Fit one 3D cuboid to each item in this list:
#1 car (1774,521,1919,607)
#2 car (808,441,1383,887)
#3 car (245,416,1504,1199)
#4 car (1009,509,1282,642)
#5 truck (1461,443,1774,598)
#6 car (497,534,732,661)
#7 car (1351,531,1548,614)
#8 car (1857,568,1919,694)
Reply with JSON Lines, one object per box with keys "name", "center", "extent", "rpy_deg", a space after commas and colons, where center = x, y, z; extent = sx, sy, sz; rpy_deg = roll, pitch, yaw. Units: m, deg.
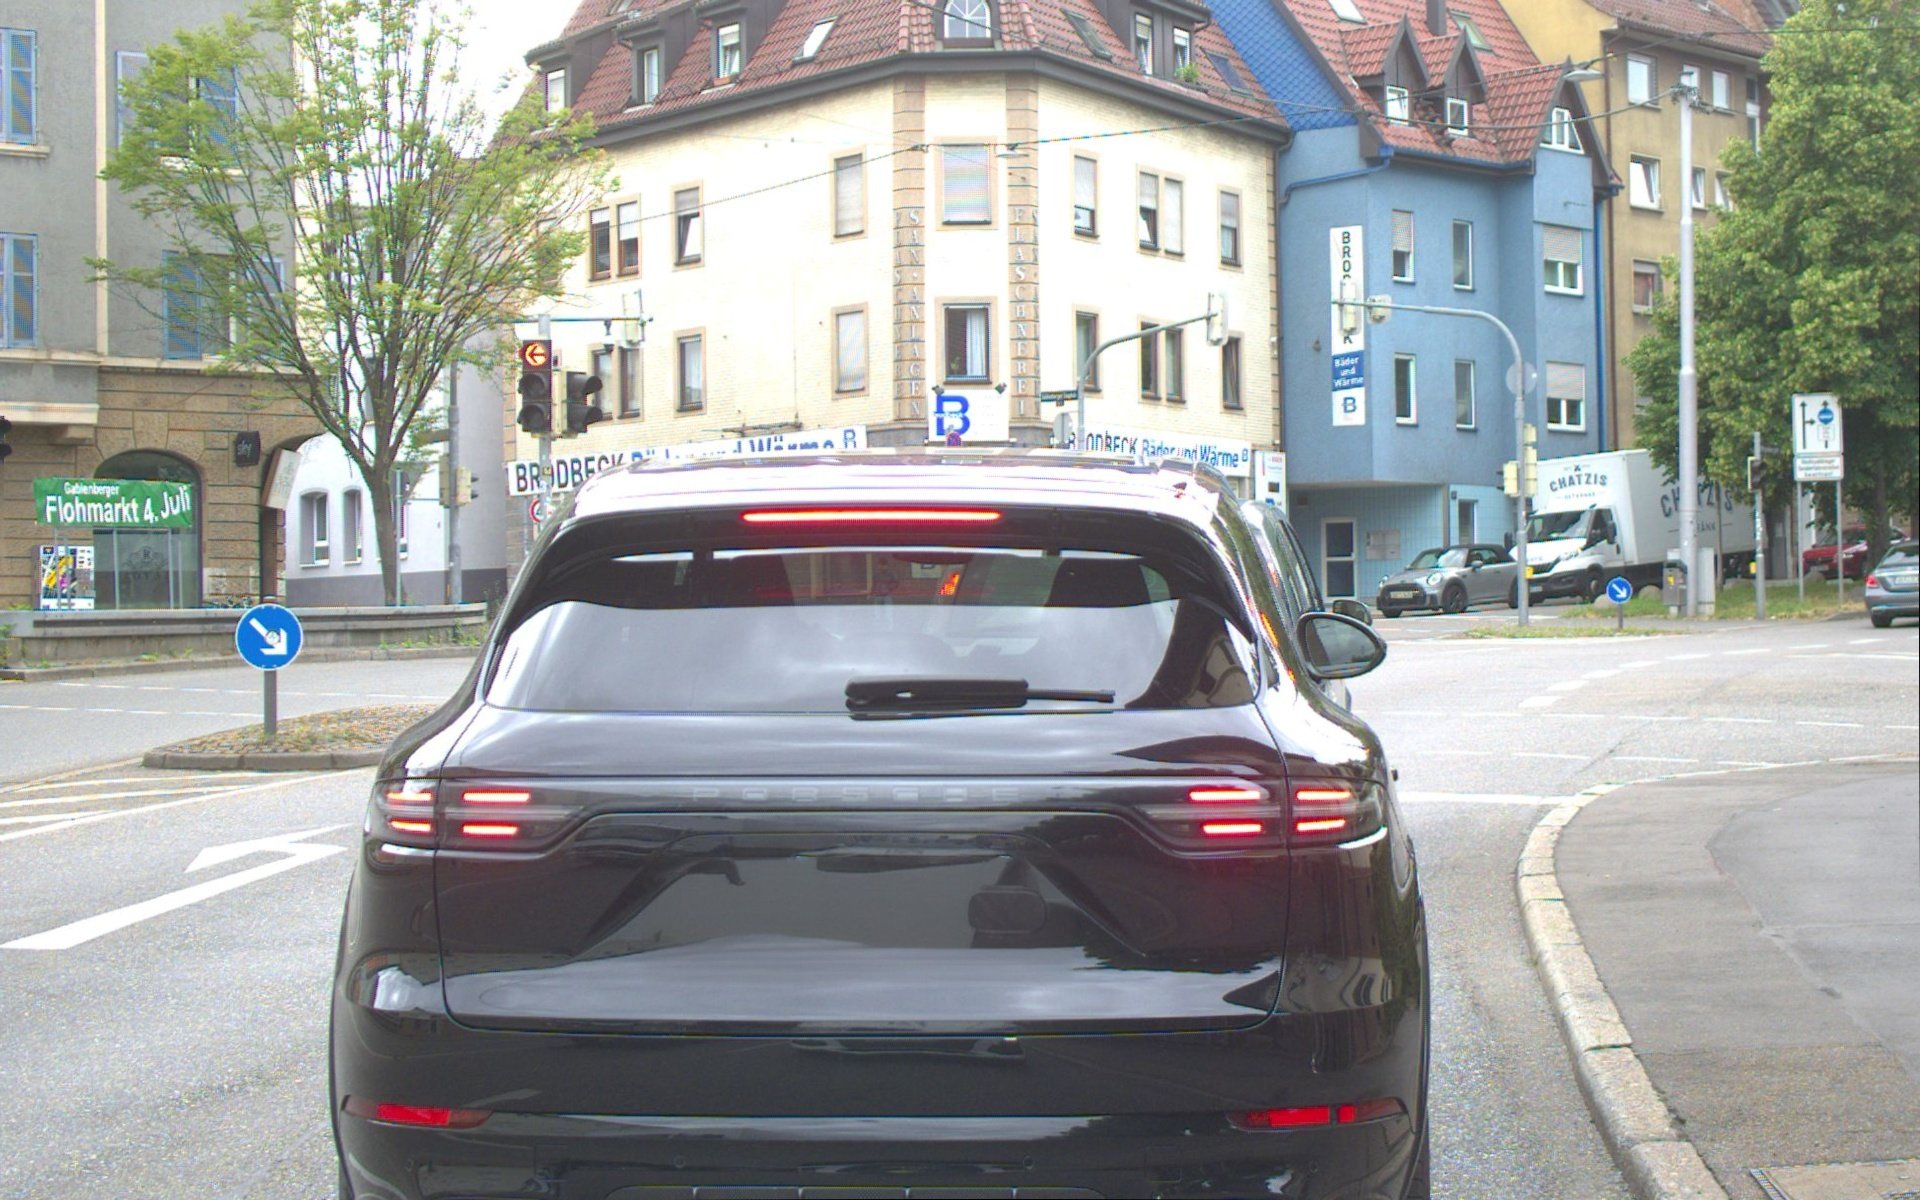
{"name": "car", "center": [22.340, -0.887, 86.166], "extent": [1.999, 2.007, 3.990], "rpy_deg": [2, 1, 43]}
{"name": "car", "center": [0.744, 0.216, 15.074], "extent": [1.994, 1.678, 3.998], "rpy_deg": [0, 1, 10]}
{"name": "car", "center": [-0.241, 0.495, 7.419], "extent": [1.978, 1.678, 4.001], "rpy_deg": [0, 2, -3]}
{"name": "car", "center": [2.905, -0.401, 54.366], "extent": [1.994, 2.007, 3.998], "rpy_deg": [1, 0, -44]}
{"name": "truck", "center": [15.109, -1.761, 78.457], "extent": [2.880, 3.328, 8.772], "rpy_deg": [2, 1, 41]}
{"name": "car", "center": [-4.488, -0.020, 45.296], "extent": [1.890, 1.574, 3.967], "rpy_deg": [-1, -1, 13]}
{"name": "car", "center": [10.254, -0.585, 71.895], "extent": [3.989, 1.678, 1.999], "rpy_deg": [-1, 1, -42]}
{"name": "car", "center": [16.075, 0.516, 57.218], "extent": [1.995, 2.007, 3.996], "rpy_deg": [1, 0, 17]}
